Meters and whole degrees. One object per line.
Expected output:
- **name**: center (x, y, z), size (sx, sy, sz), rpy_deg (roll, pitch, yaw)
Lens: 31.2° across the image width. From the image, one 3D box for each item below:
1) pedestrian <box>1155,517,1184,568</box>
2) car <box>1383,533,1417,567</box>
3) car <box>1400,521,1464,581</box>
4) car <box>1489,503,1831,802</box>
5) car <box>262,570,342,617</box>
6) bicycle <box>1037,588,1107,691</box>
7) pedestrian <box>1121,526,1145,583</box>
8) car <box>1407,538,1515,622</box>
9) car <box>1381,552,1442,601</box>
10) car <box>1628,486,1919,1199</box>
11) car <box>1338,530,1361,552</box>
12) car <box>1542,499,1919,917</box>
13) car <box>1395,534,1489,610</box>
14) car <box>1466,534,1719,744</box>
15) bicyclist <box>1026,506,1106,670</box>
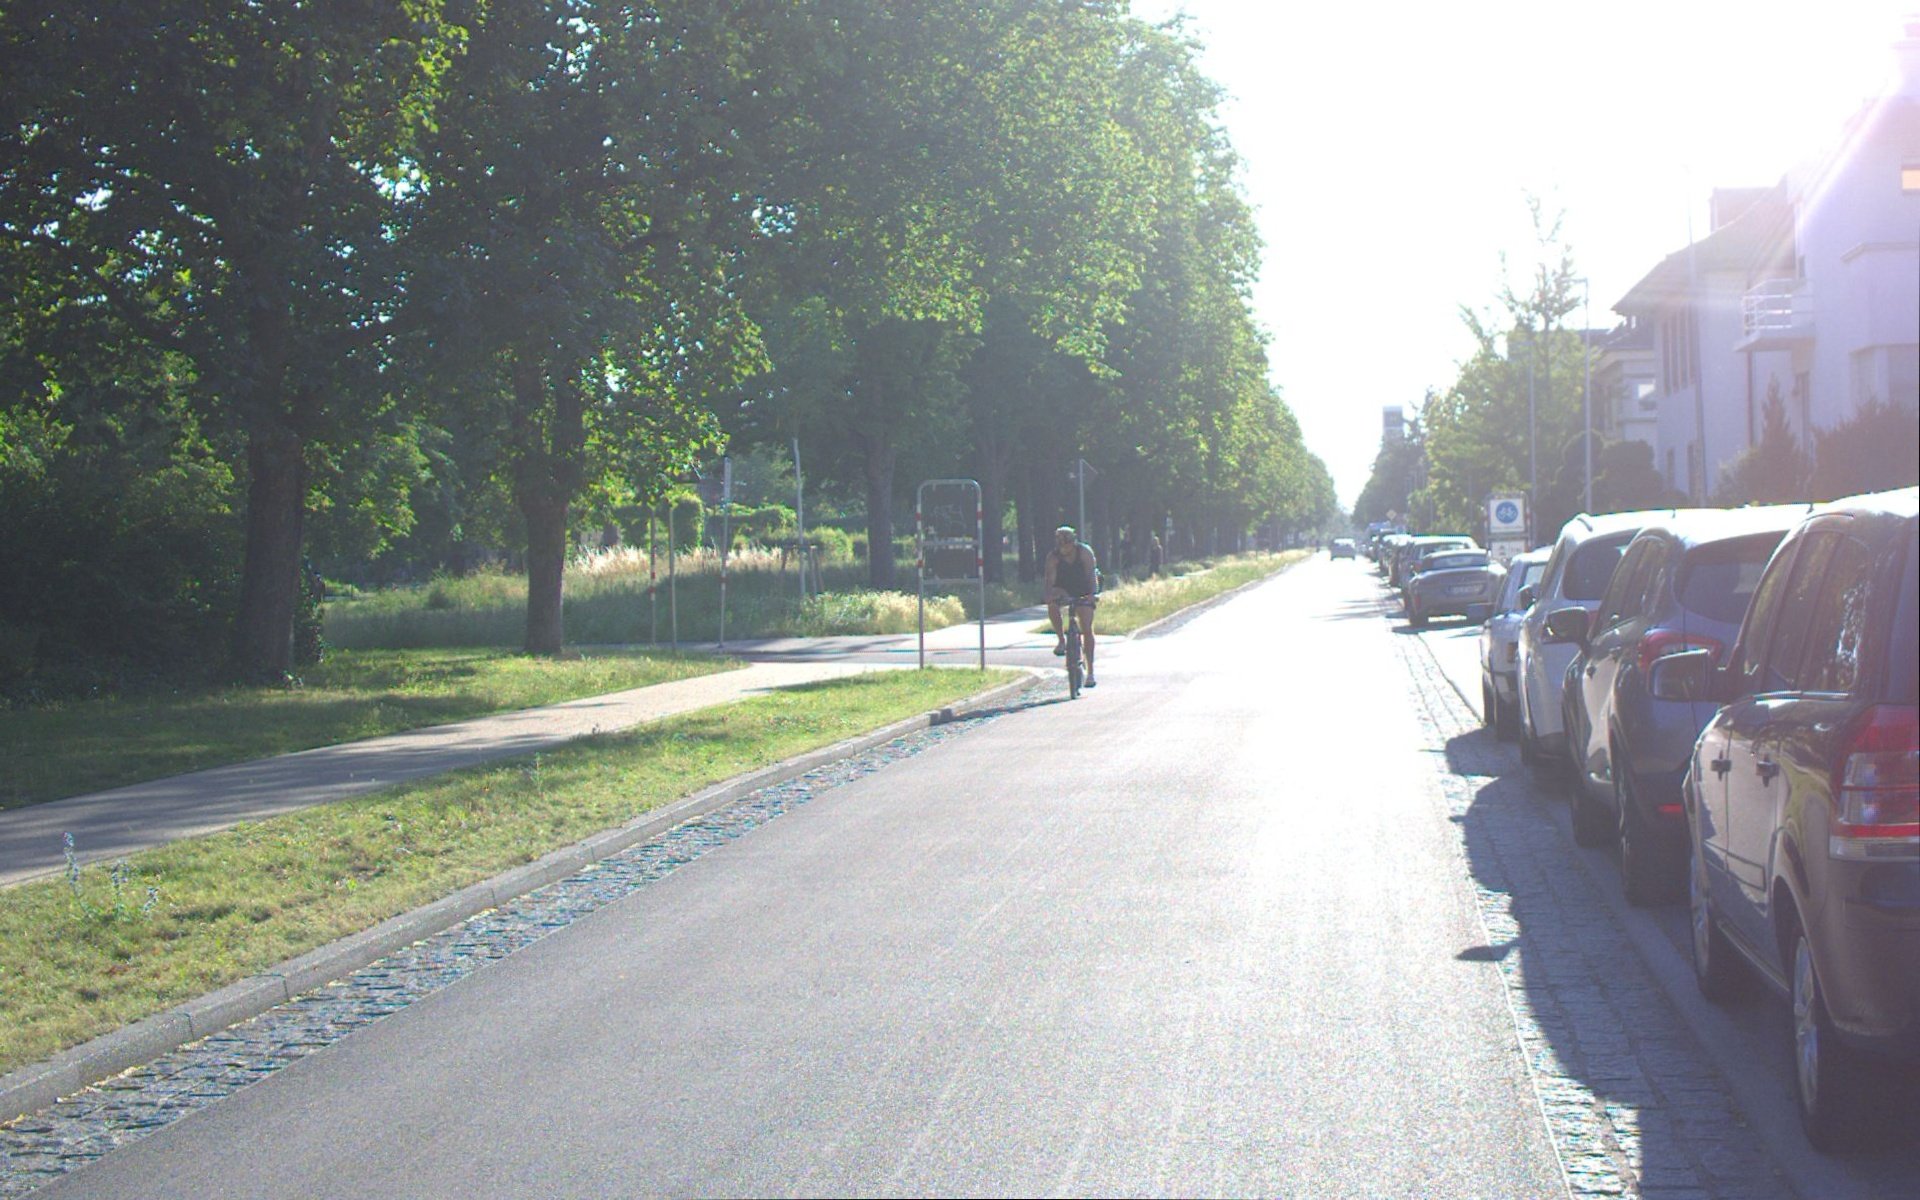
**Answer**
- **pedestrian**: center (6.732, -1.849, 110.583), size (0.783, 1.609, 0.951), rpy_deg (-1, 1, 10)
- **car**: center (20.674, -2.351, 161.556), size (1.498, 1.561, 3.266), rpy_deg (-2, 1, 8)
- **car**: center (12.878, -1.356, 93.953), size (1.628, 1.499, 3.632), rpy_deg (-3, 1, 8)
- **car**: center (4.110, 0.247, 20.708), size (1.679, 1.550, 4.129), rpy_deg (-3, 1, 8)
- **car**: center (-23.891, -0.245, 124.956), size (1.693, 1.592, 4.220), rpy_deg (-1, 1, 6)
- **bicycle**: center (1.191, 0.398, 36.145), size (0.556, 1.028, 1.914), rpy_deg (-2, 0, 6)
- **pedestrian**: center (5.552, -1.458, 110.538), size (0.624, 1.824, 0.885), rpy_deg (-1, 1, 10)
- **car**: center (9.115, -0.392, 62.758), size (1.775, 1.284, 4.271), rpy_deg (-4, 1, 7)
- **car**: center (14.456, -0.758, 110.289), size (1.737, 1.444, 4.196), rpy_deg (-3, 0, 6)
- **car**: center (2.953, 0.472, 9.461), size (1.710, 1.605, 4.168), rpy_deg (-3, 1, 6)
- **car**: center (27.931, -4.219, 246.431), size (1.652, 1.536, 3.266), rpy_deg (0, 1, 7)
- **car**: center (3.585, 0.364, 15.203), size (1.679, 1.550, 4.143), rpy_deg (-3, 1, 6)
- **car**: center (10.335, -0.616, 73.880), size (1.744, 1.469, 3.921), rpy_deg (-4, 1, 6)
- **car**: center (4.715, 0.234, 26.085), size (1.564, 1.385, 4.373), rpy_deg (-3, 1, 7)
- **bicyclist**: center (1.121, -0.125, 36.136), size (0.682, 1.667, 1.172), rpy_deg (-2, 0, 6)
